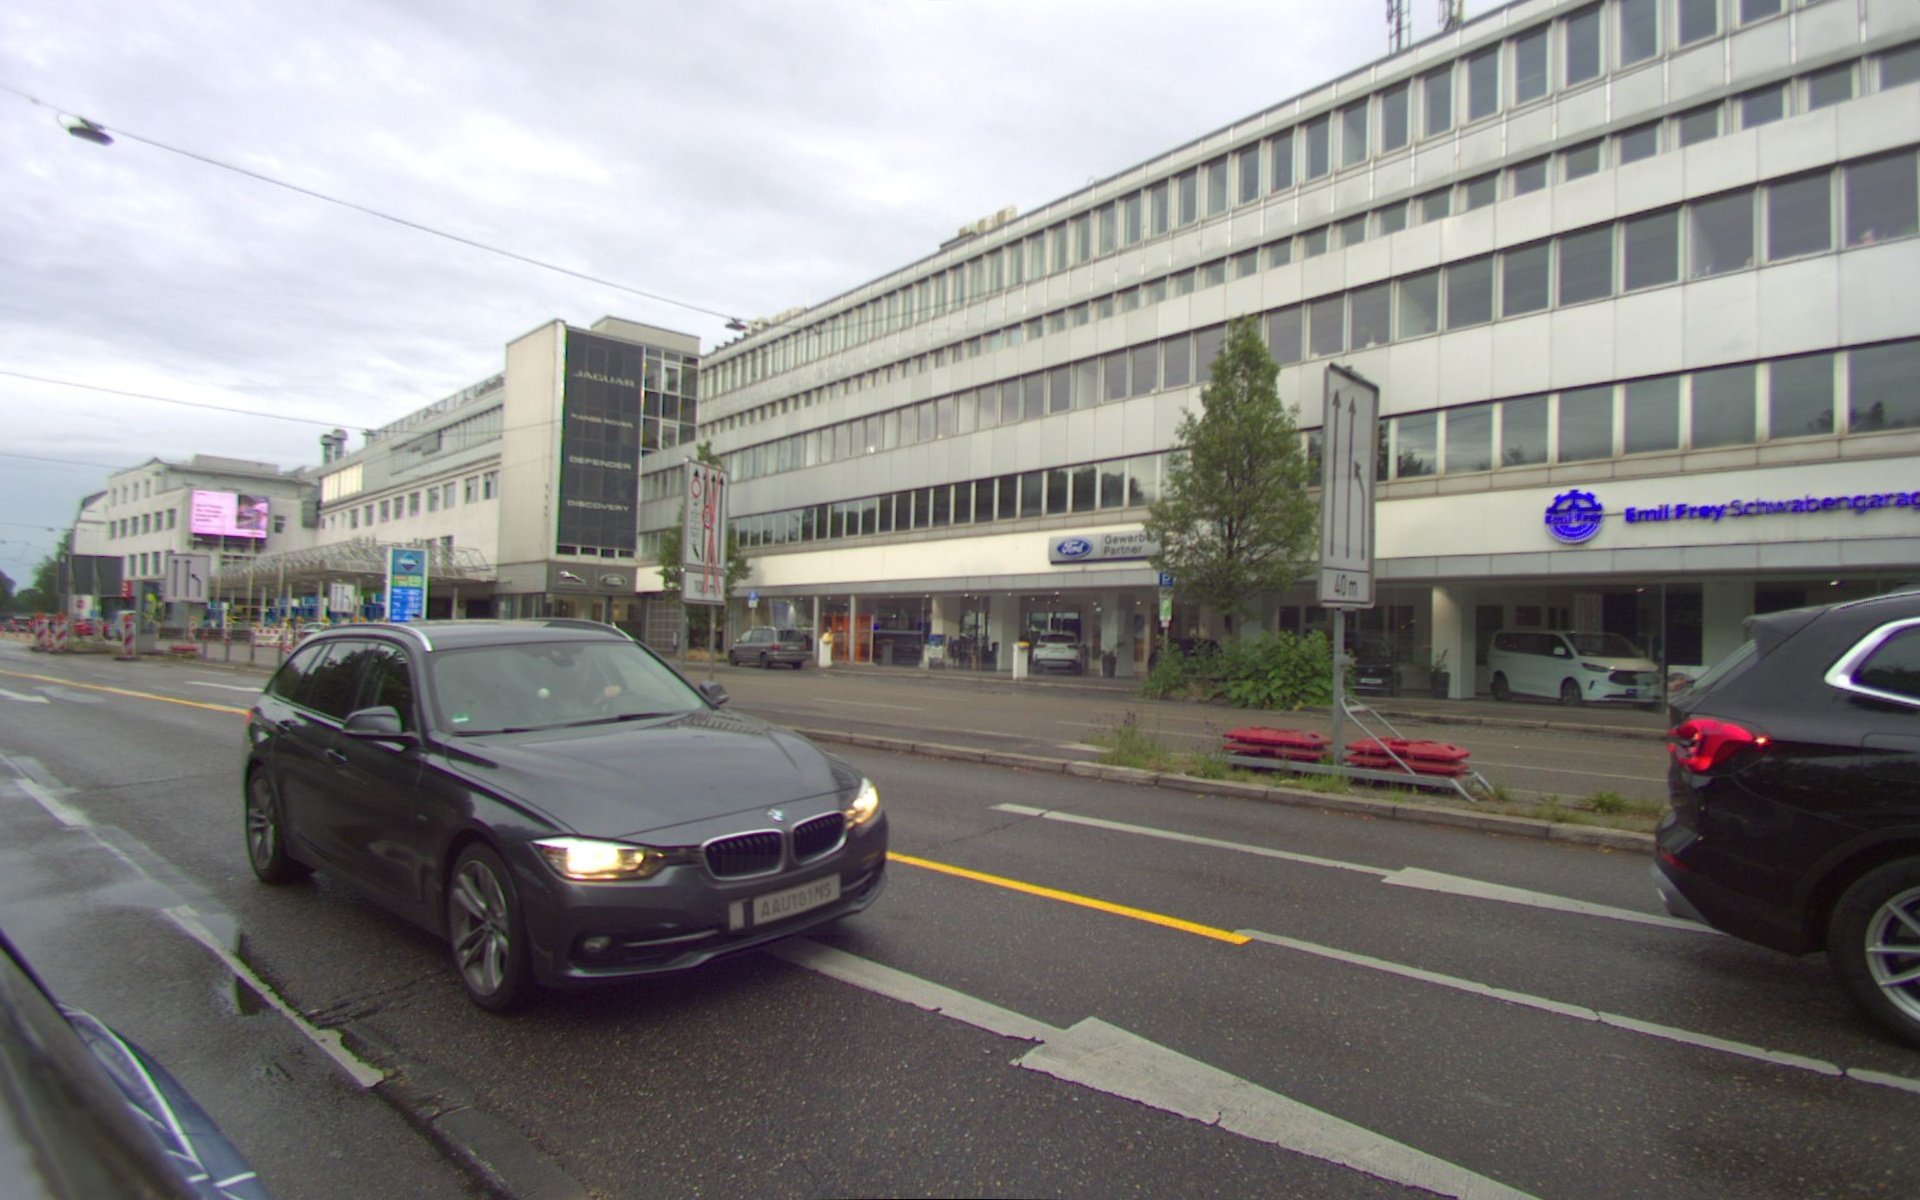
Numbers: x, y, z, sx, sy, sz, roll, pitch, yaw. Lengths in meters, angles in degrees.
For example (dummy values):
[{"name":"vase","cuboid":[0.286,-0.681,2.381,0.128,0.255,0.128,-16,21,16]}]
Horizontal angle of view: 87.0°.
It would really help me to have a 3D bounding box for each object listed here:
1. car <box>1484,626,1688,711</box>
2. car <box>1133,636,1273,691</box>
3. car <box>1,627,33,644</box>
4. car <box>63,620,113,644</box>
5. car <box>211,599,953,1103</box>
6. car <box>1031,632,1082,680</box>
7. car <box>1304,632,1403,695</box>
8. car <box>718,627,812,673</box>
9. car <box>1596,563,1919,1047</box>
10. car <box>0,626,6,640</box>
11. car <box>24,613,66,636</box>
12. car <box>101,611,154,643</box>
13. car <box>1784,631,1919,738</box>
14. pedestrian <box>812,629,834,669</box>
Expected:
[{"name":"car","cuboid":[15.790,1.722,25.947,1.971,1.912,4.990,2,-3,-2]},{"name":"car","cuboid":[7.662,1.985,32.239,1.967,1.586,4.009,4,-4,-36]},{"name":"car","cuboid":[-90.280,3.387,96.903,4.300,1.570,1.788,-1,-3,42]},{"name":"car","cuboid":[-60.067,2.222,69.686,4.369,1.514,1.811,-1,-4,40]},{"name":"car","cuboid":[-2.175,0.782,5.171,4.175,1.460,1.741,1,2,41]},{"name":"car","cuboid":[3.714,2.178,39.273,1.831,1.664,4.378,2,-3,5]},{"name":"car","cuboid":[10.948,1.786,28.445,1.980,1.586,3.984,1,-3,12]},{"name":"car","cuboid":[-8.421,2.115,43.353,1.825,1.792,4.737,5,-4,-40]},{"name":"car","cuboid":[4.880,0.644,3.076,4.671,1.610,1.925,-2,-2,44]},{"name":"car","cuboid":[-126.795,4.268,132.558,4.825,1.720,1.960,-1,-3,39]},{"name":"car","cuboid":[-73.125,1.915,80.838,4.601,1.751,1.826,-1,-3,41]},{"name":"car","cuboid":[-50.454,1.649,61.284,4.299,1.799,1.715,-1,-4,41]},{"name":"car","cuboid":[19.225,1.687,20.041,1.976,2.027,5.195,2,-3,6]},{"name":"pedestrian","cuboid":[-5.988,2.139,44.192,0.709,1.745,0.539,4,-4,-36]}]
